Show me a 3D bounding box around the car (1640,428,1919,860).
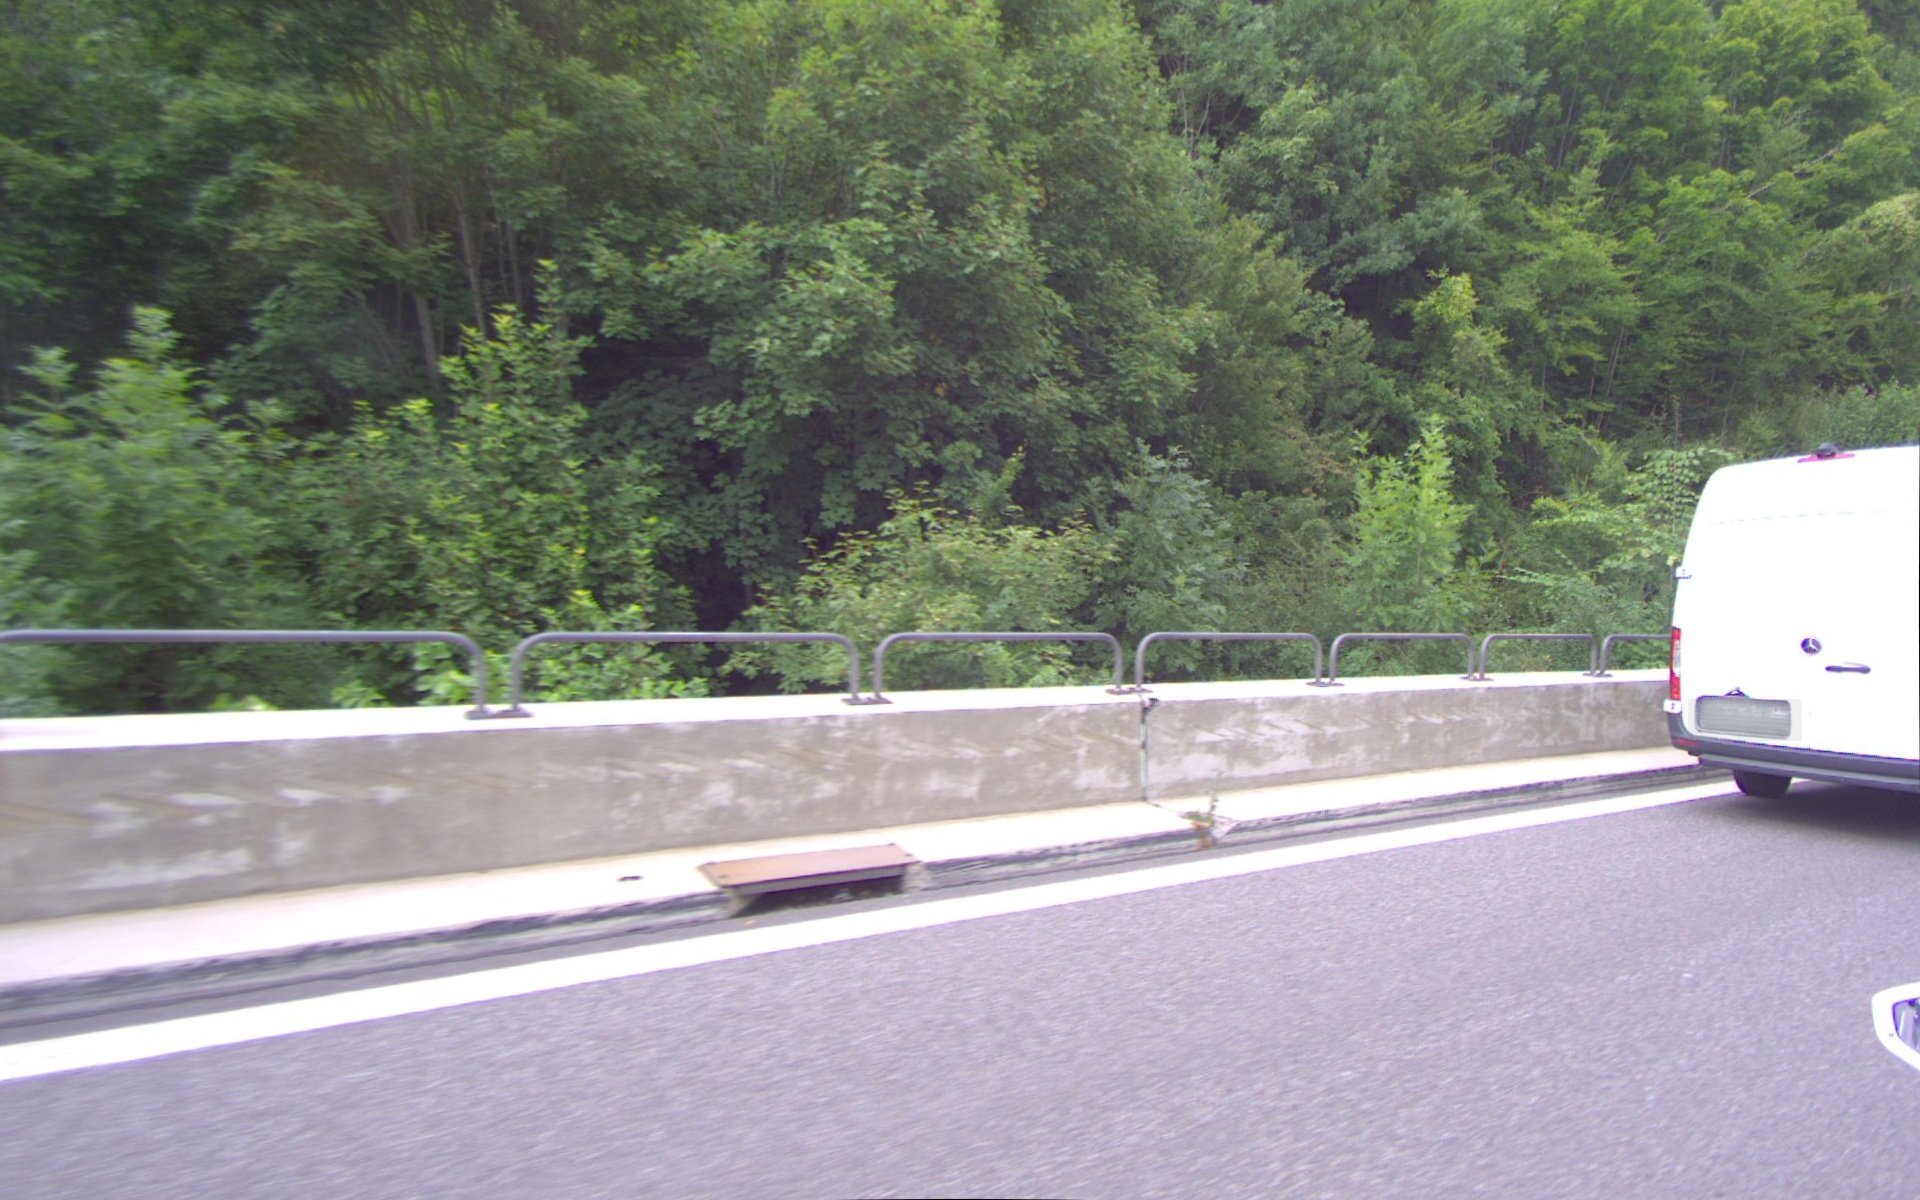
[{"bbox_3d":[8.665,0.335,8.583,6.855,2.708,1.979,1,-1,-30],"label":"car"}]
